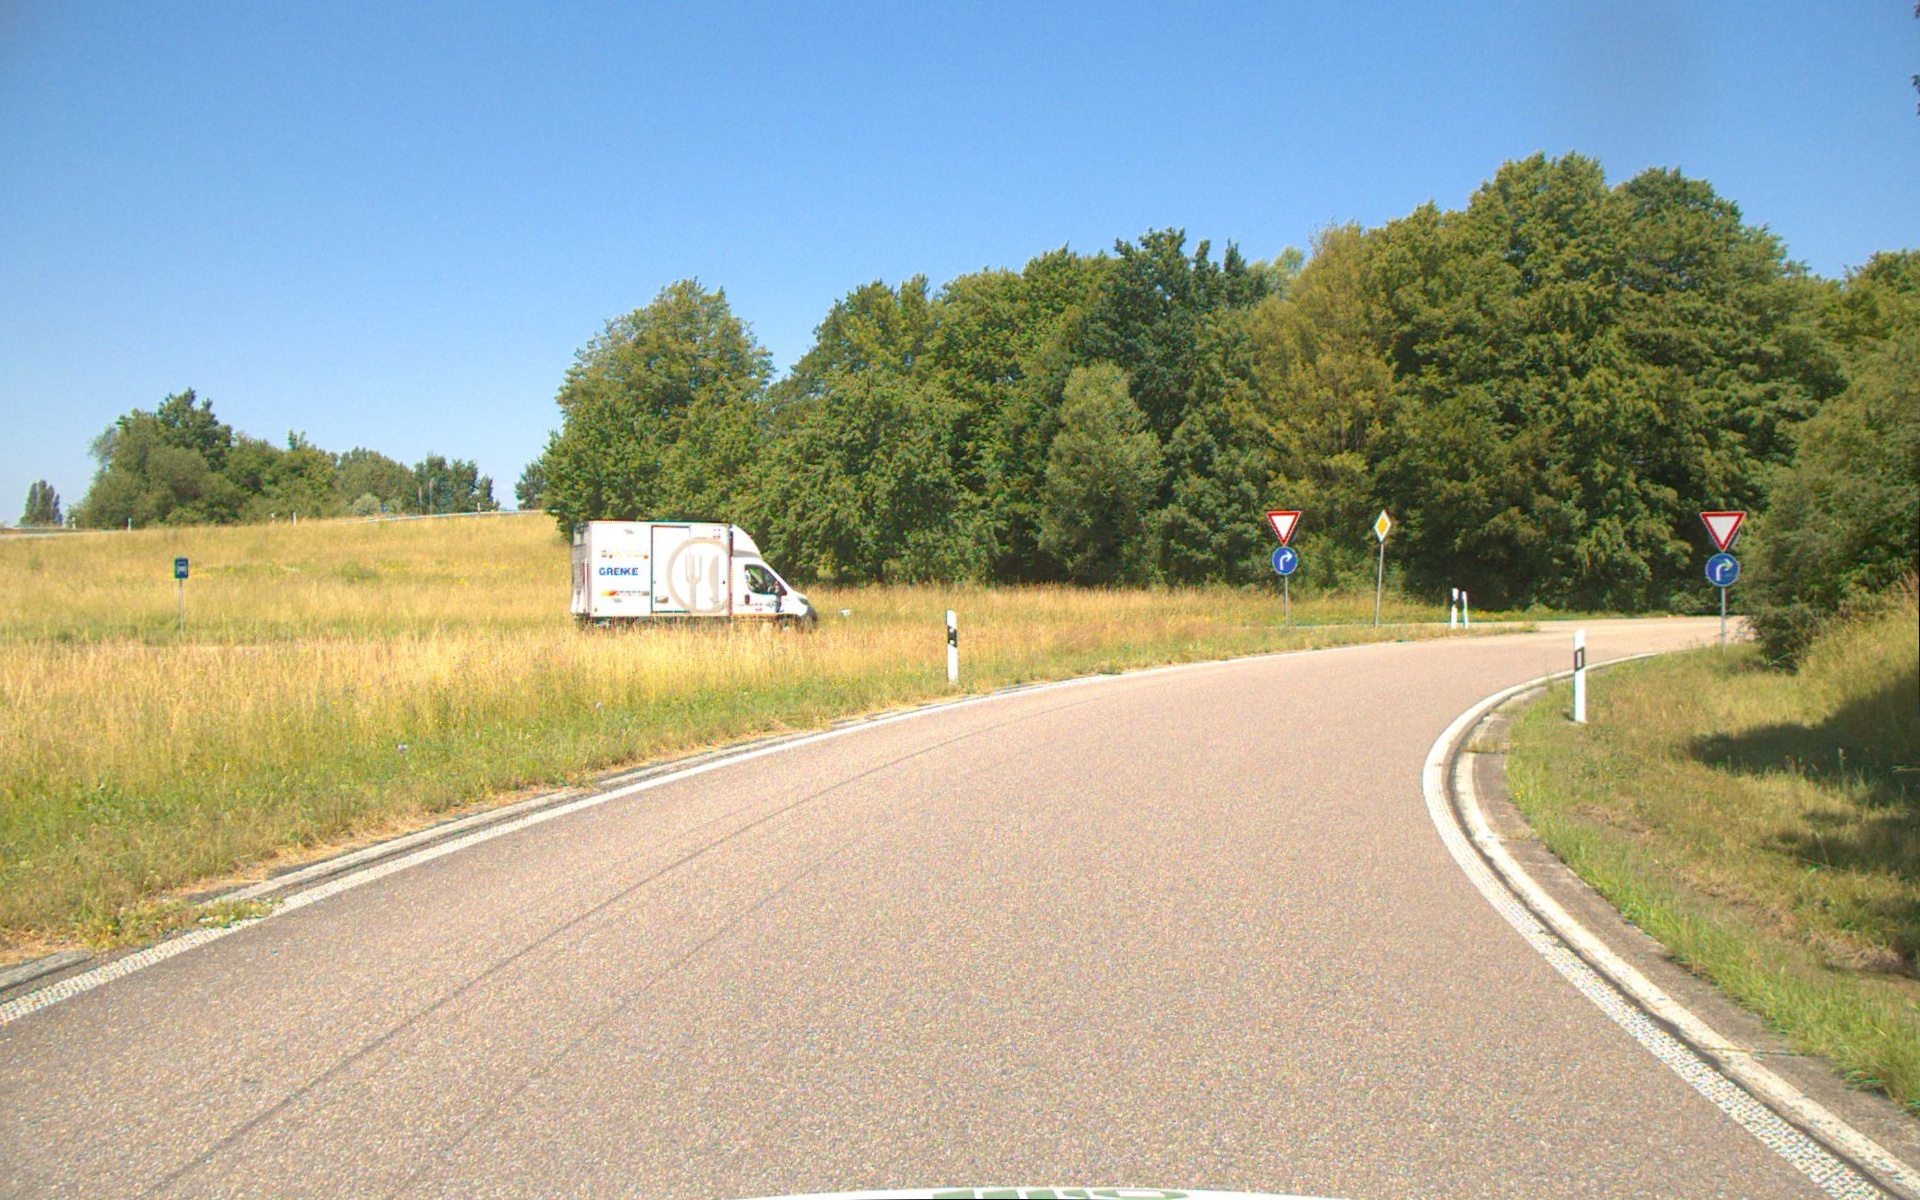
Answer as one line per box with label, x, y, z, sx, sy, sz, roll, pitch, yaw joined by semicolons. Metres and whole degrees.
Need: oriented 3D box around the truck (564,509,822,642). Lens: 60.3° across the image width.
truck;-6.438;-0.599;39.987;5.800;3.037;2.230;-1;0;-25
